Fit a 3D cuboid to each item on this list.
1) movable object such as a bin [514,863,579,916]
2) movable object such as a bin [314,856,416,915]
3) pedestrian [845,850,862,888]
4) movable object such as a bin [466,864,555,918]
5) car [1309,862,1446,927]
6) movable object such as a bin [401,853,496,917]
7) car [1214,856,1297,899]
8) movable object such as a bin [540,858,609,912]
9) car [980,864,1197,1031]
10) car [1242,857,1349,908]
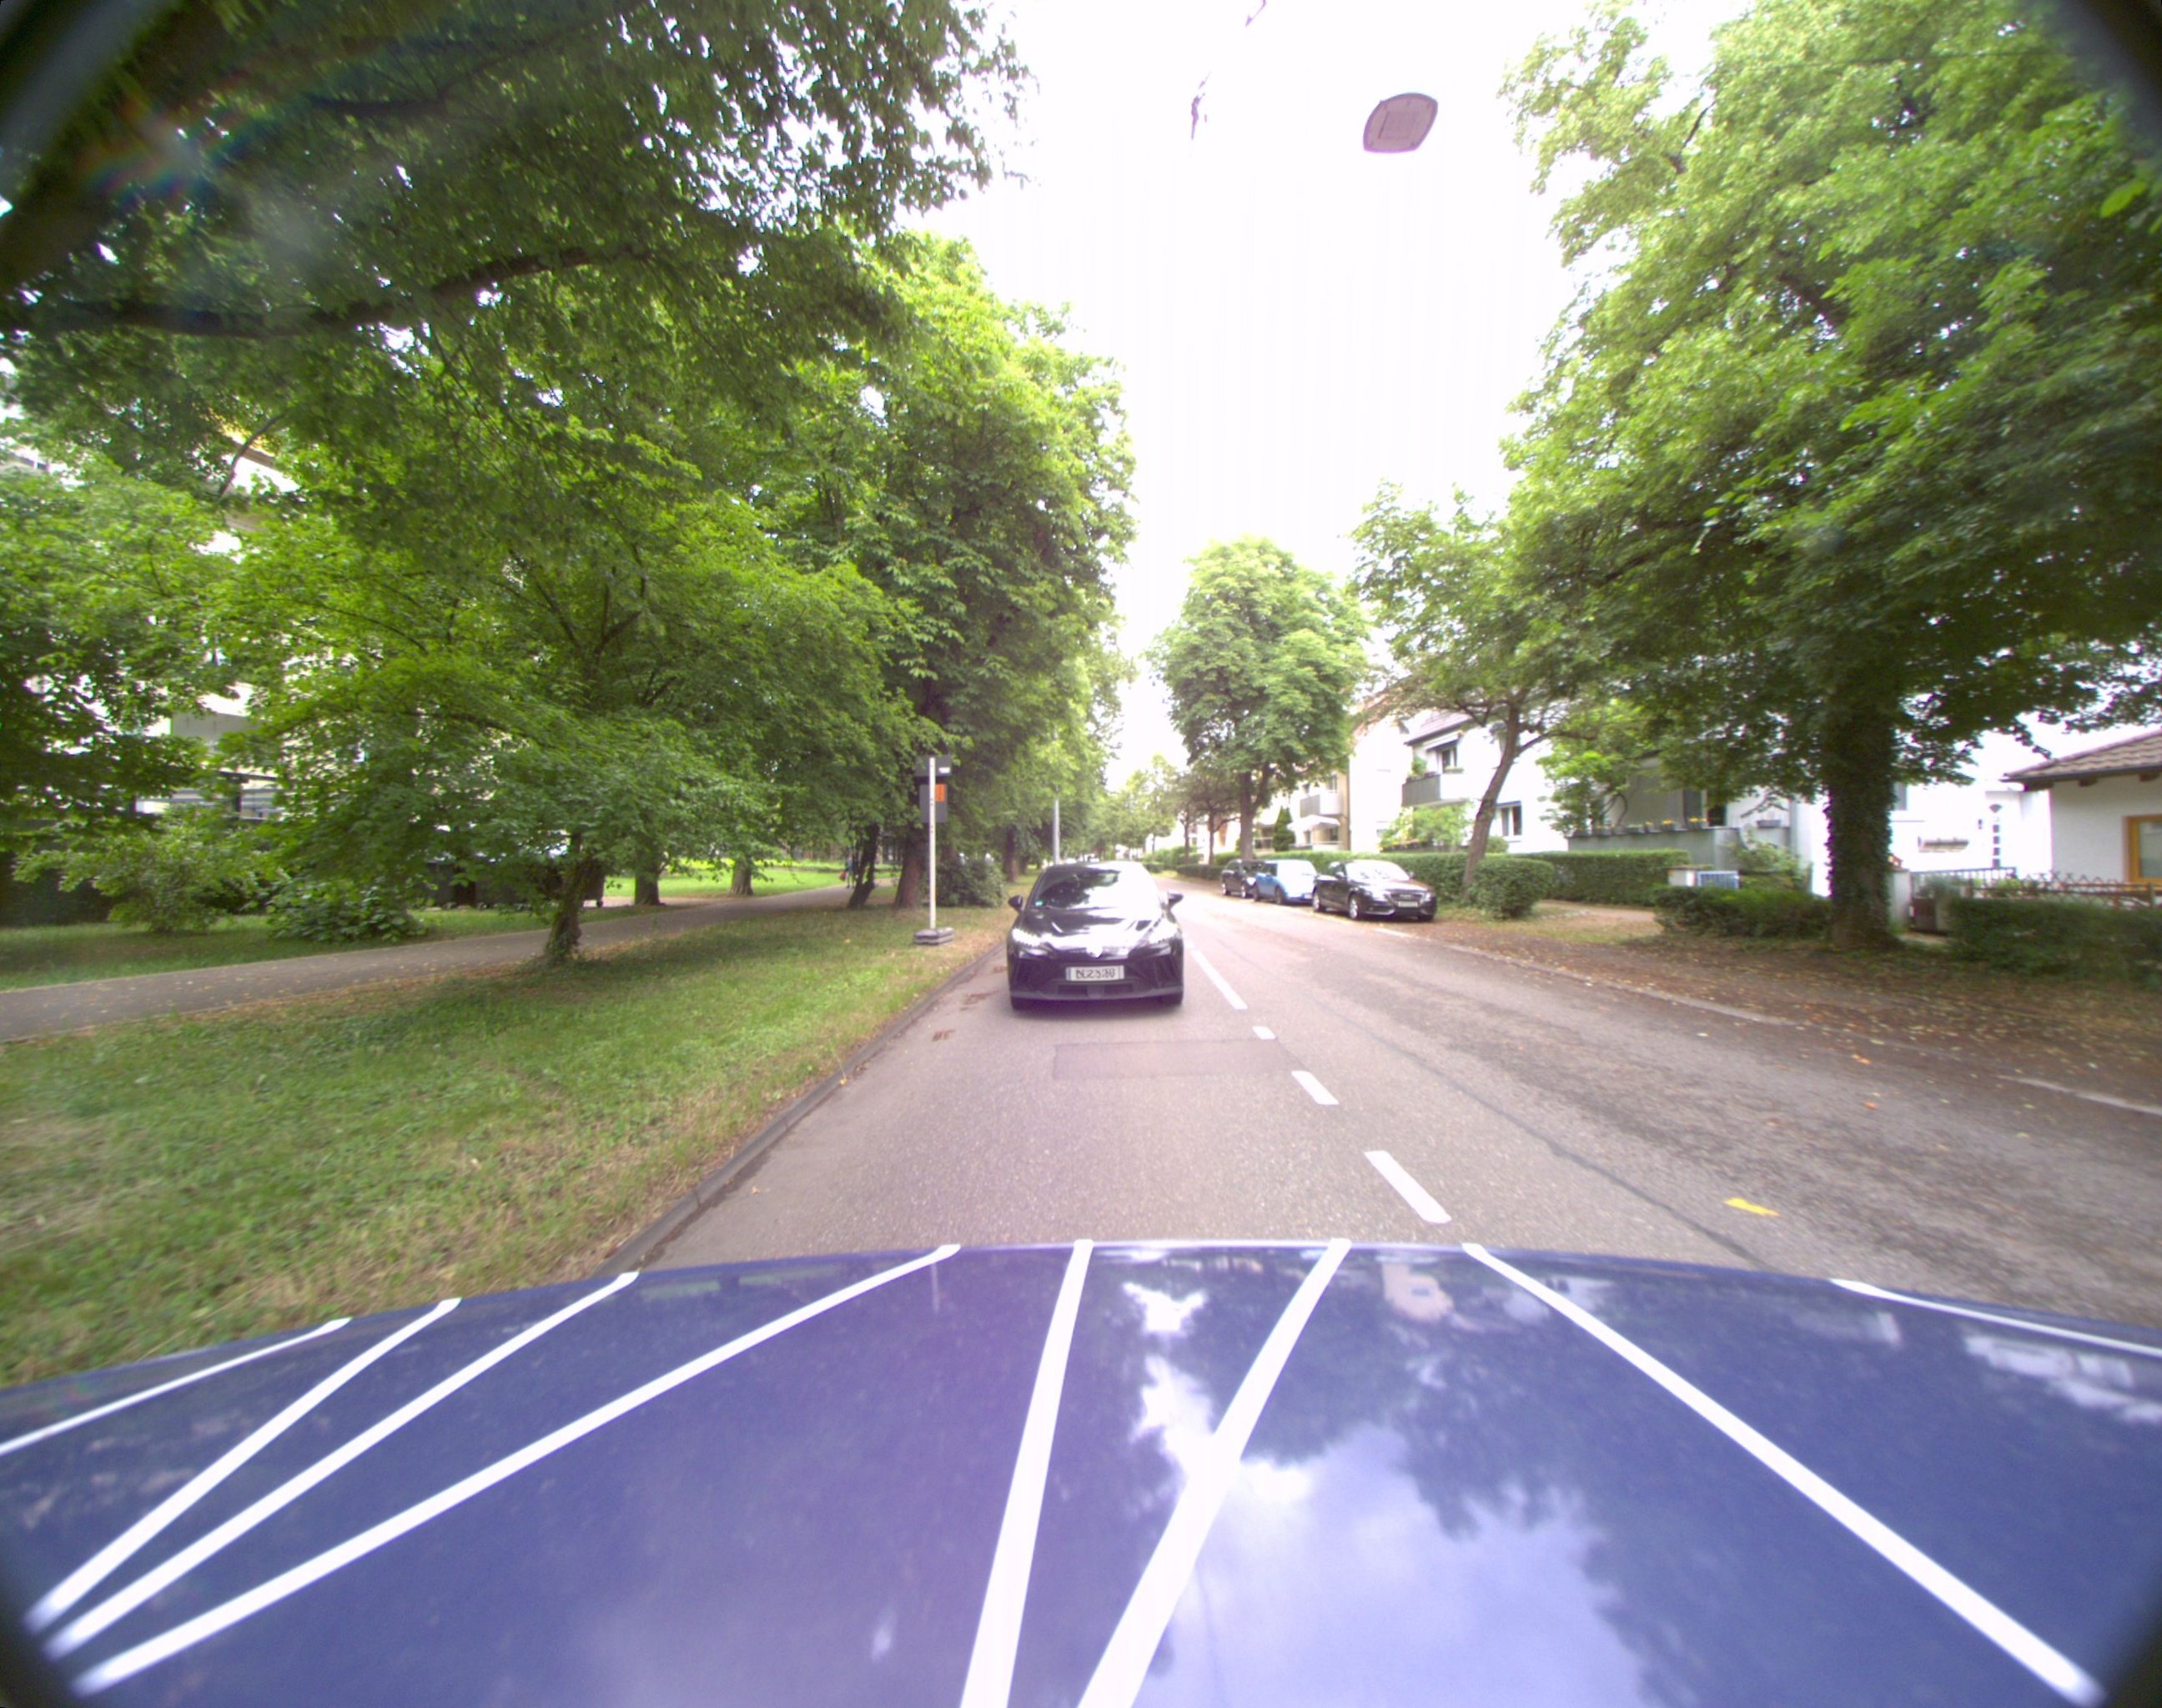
[{"bbox_3d":[-13.575,0.879,19.345,1.026,1.296,0.959,0,0,-8],"label":"movable object such as a bin"},{"bbox_3d":[-16.829,0.708,17.907,1.195,1.334,1.348,0,0,-8],"label":"movable object such as a bin"},{"bbox_3d":[-10.638,0.709,35.516,0.565,1.730,0.570,1,0,-1],"label":"pedestrian"},{"bbox_3d":[-13.575,0.863,18.146,1.195,1.213,1.348,0,0,-8],"label":"movable object such as a bin"},{"bbox_3d":[7.084,0.901,18.621,1.735,1.395,4.171,0,0,0],"label":"car"},{"bbox_3d":[-14.888,0.698,17.936,1.195,1.448,1.348,0,0,-8],"label":"movable object such as a bin"},{"bbox_3d":[6.612,0.836,29.389,1.889,1.524,4.564,0,0,-4],"label":"car"},{"bbox_3d":[-13.592,0.816,20.438,1.195,1.405,1.110,0,0,-8],"label":"movable object such as a bin"},{"bbox_3d":[0.064,0.901,9.329,1.999,1.491,4.615,0,0,0],"label":"car"},{"bbox_3d":[6.805,0.848,24.639,1.889,1.492,4.564,0,0,-4],"label":"car"}]
